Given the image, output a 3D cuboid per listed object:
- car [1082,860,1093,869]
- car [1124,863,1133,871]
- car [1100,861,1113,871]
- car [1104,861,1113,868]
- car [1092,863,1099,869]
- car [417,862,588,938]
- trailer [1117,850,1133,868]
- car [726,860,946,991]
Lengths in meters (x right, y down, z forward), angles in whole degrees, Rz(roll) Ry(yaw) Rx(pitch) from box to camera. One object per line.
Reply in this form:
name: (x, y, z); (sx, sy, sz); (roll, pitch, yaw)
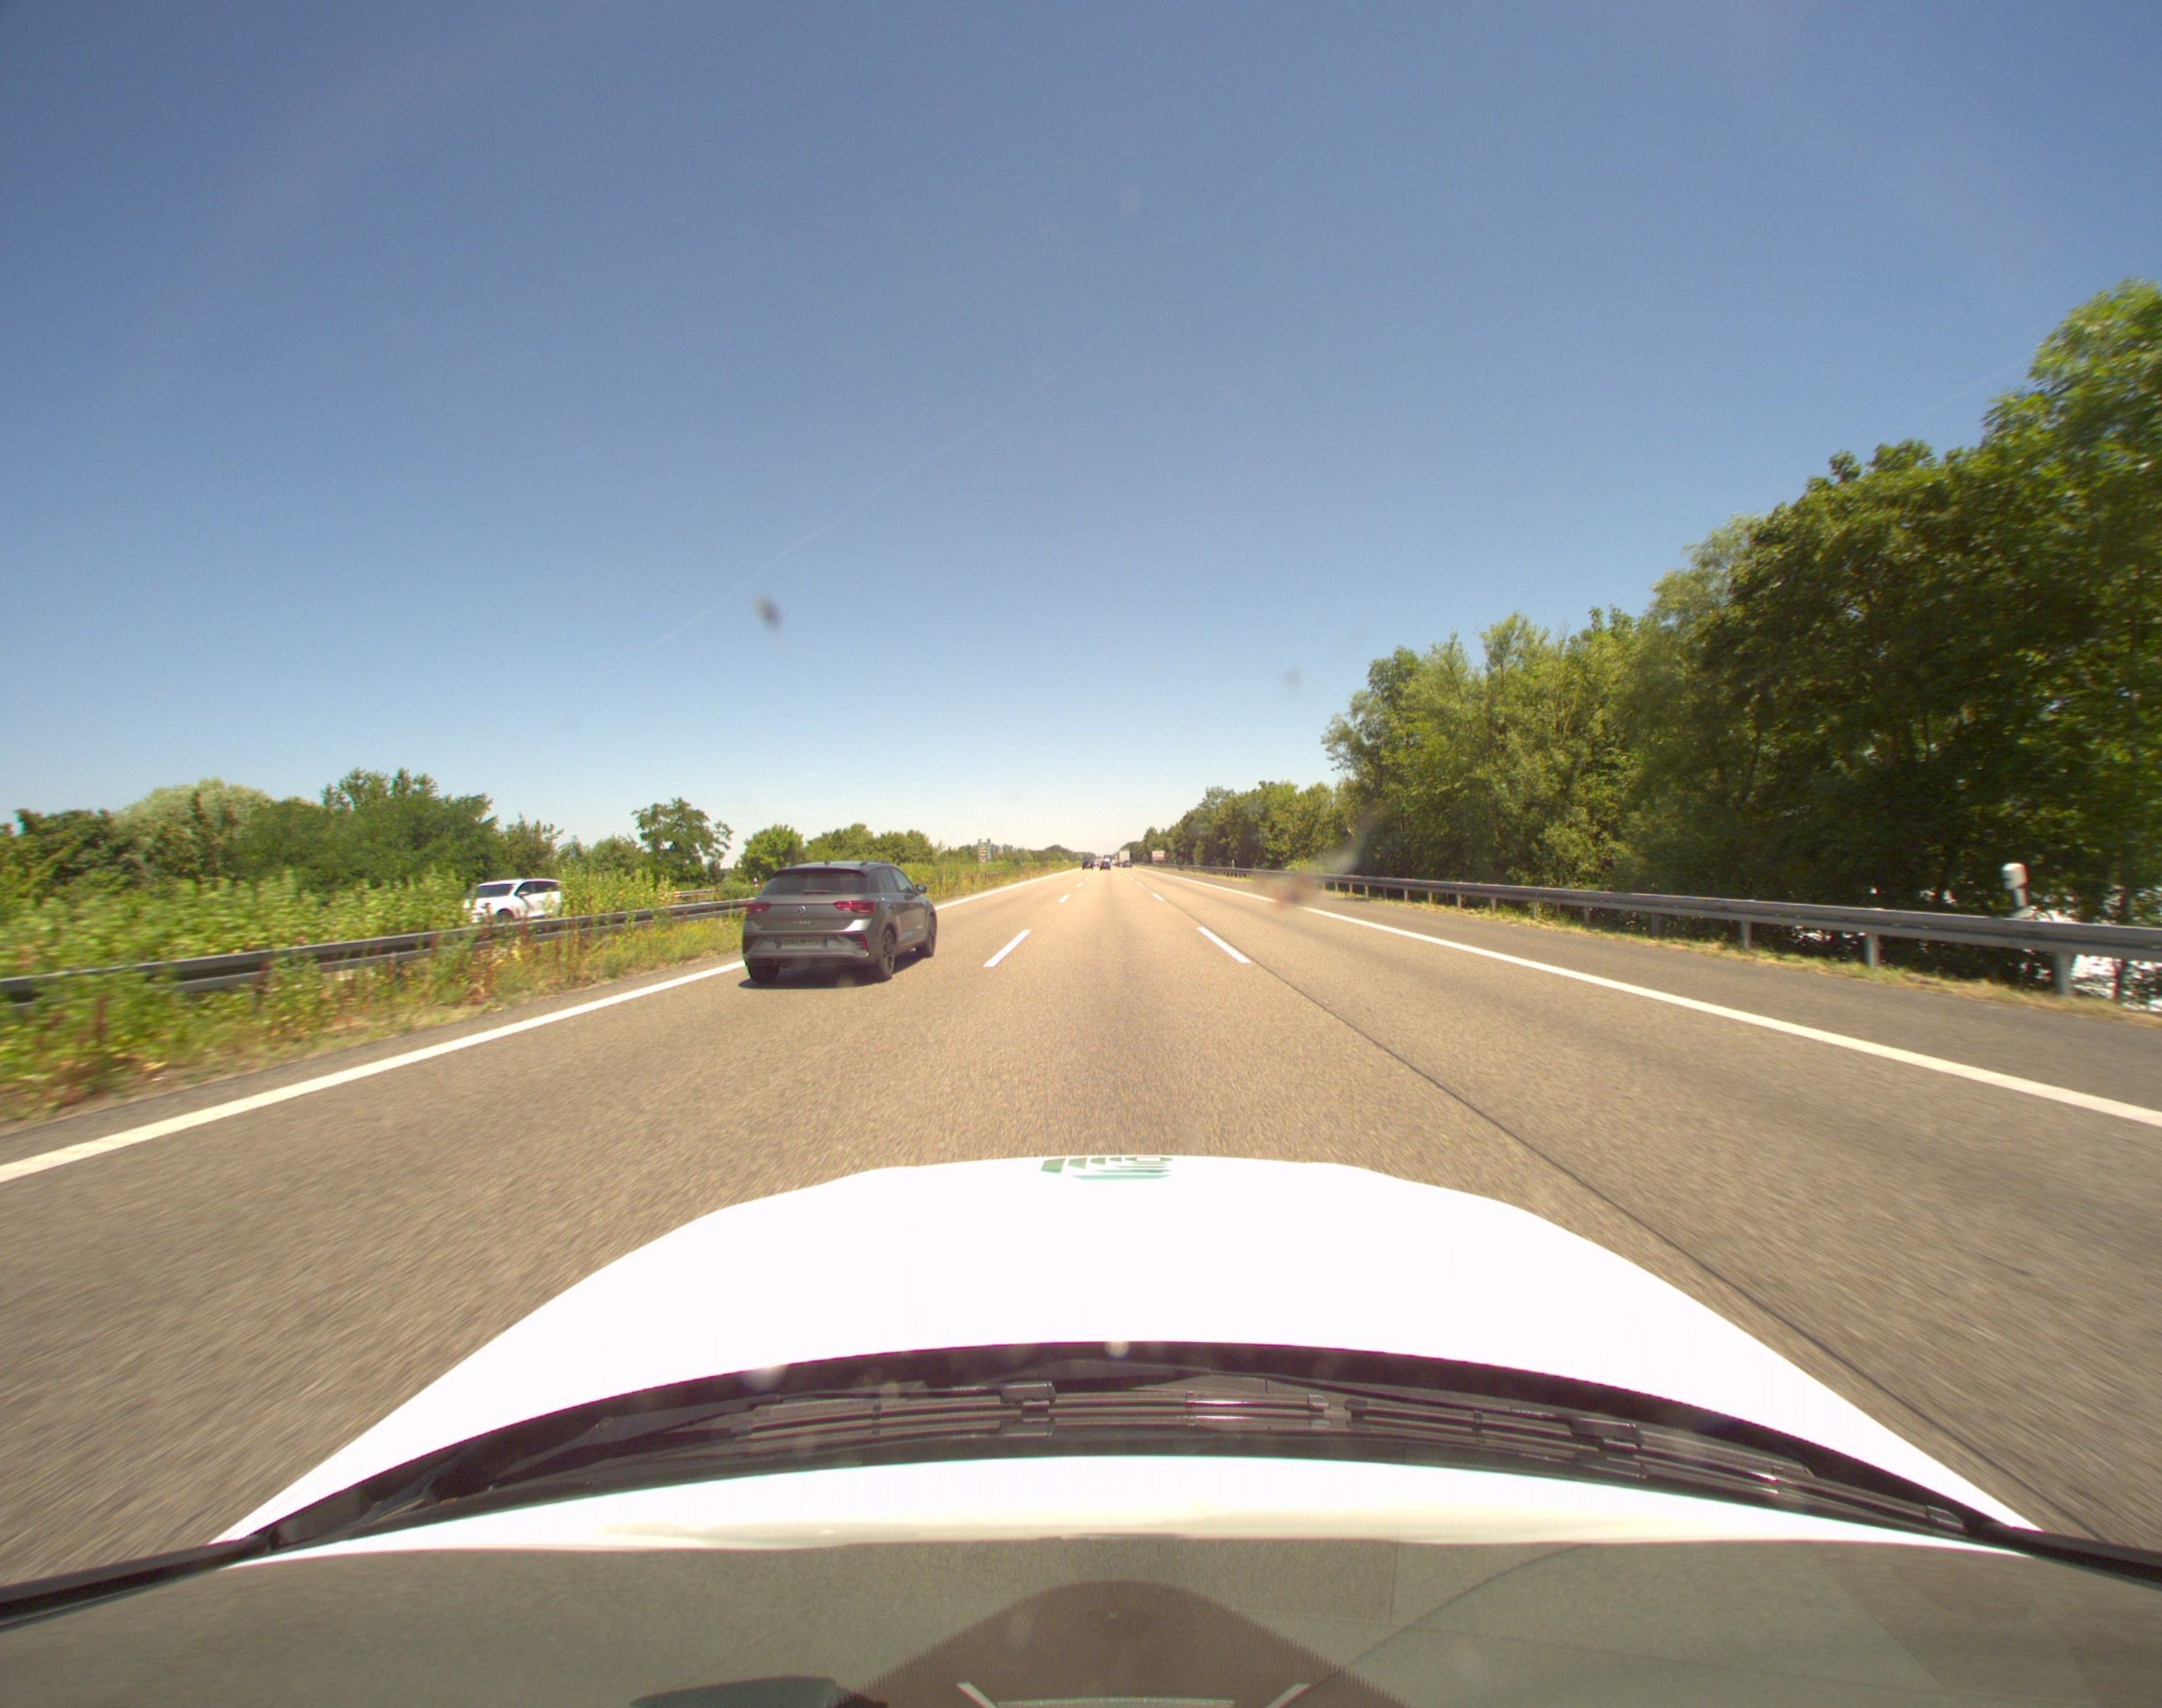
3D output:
car: (1.247, 1.937, 148.754); (1.900, 1.531, 4.287); (0, 0, 2)
car: (9.729, 2.673, 167.101); (1.838, 1.629, 4.136); (-2, -1, 2)
car: (4.022, 1.847, 127.586); (1.893, 1.531, 4.085); (0, 0, 2)
car: (5.944, 2.185, 176.504); (1.893, 1.531, 4.085); (0, 0, 2)
car: (3.819, 3.199, 216.624); (1.900, 1.531, 4.287); (0, 0, 2)
car: (-16.798, 1.256, 23.952); (1.985, 2.014, 4.004); (0, -1, 4)
trailer: (10.747, 1.307, 200.109); (3.421, 4.181, 13.637); (0, -1, 2)
car: (-3.252, 0.863, 11.753); (1.752, 1.531, 4.287); (0, 0, 2)
